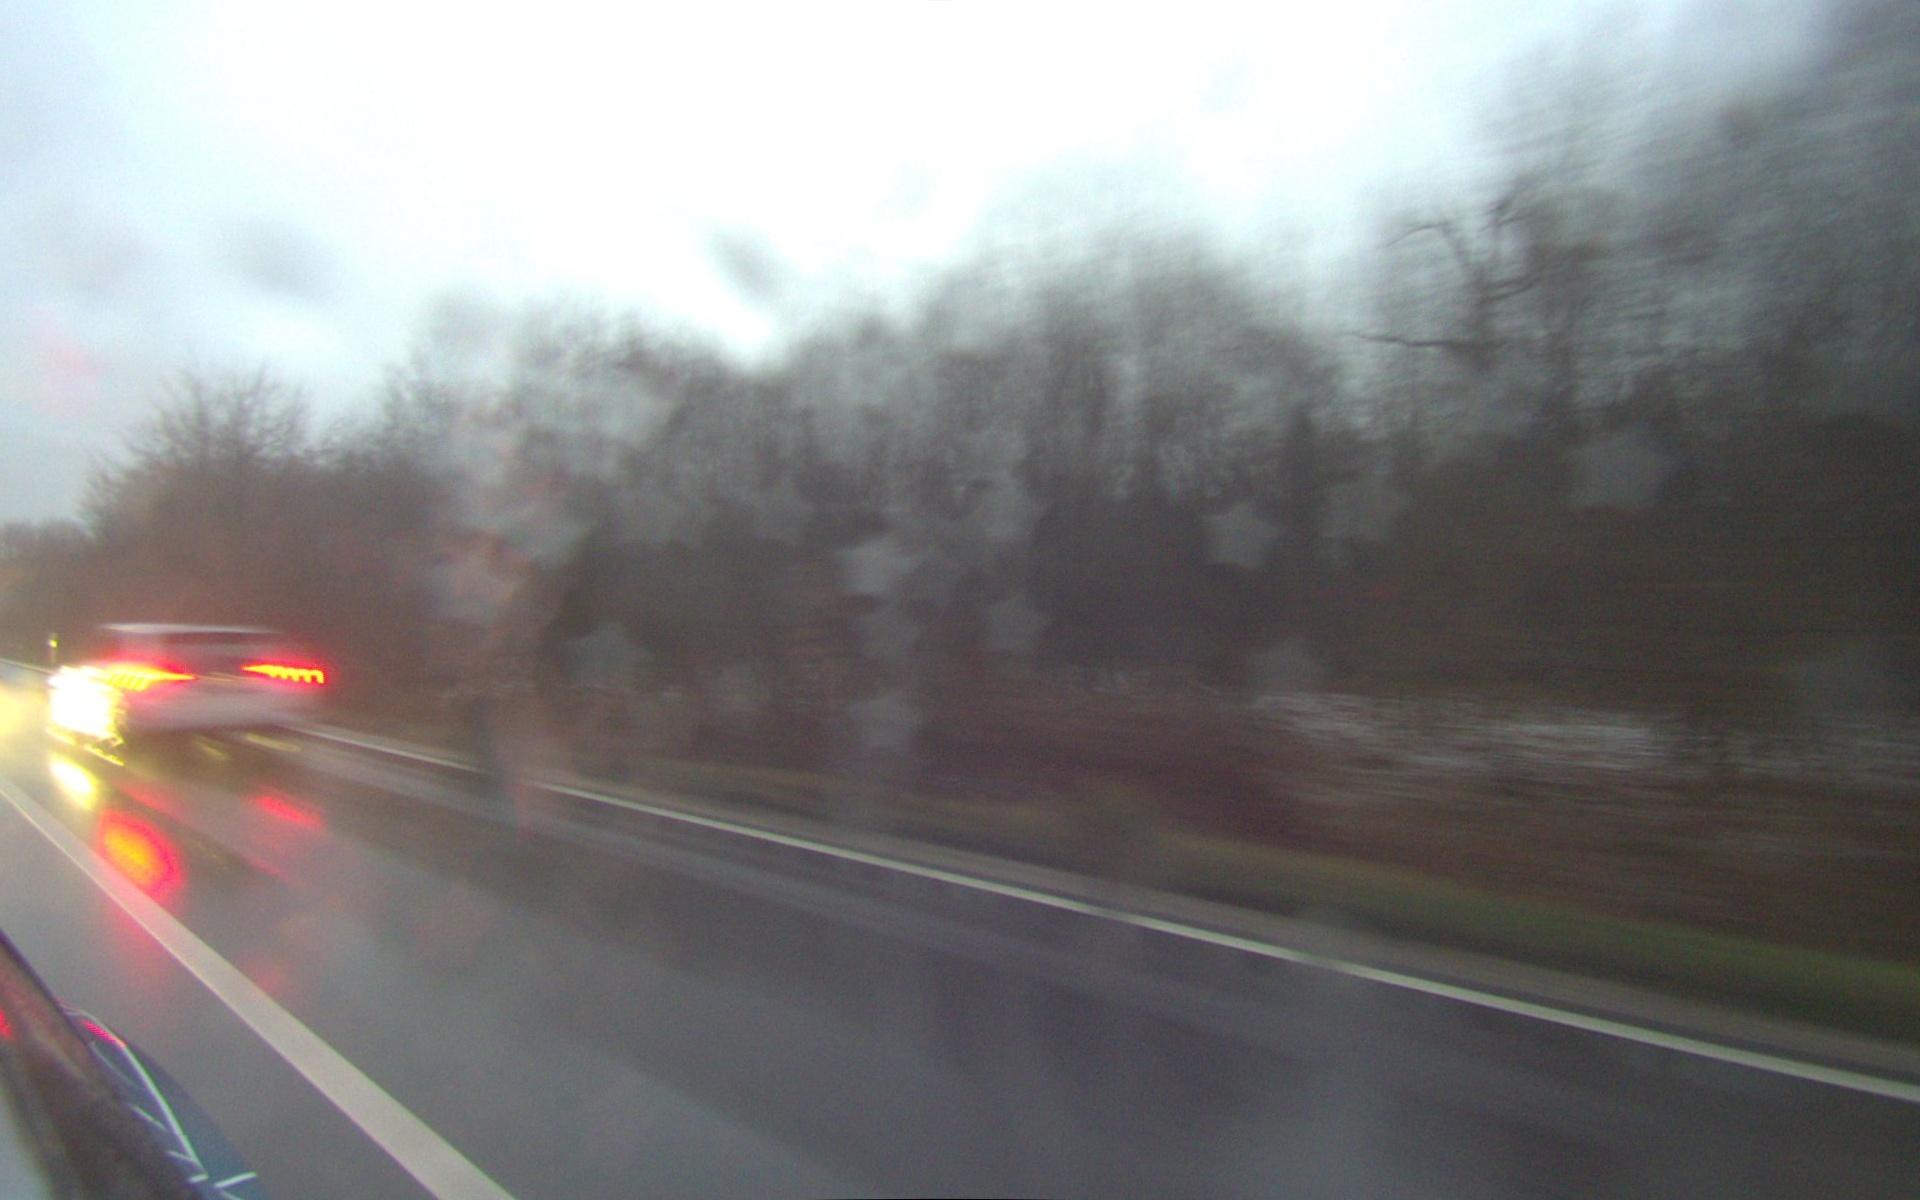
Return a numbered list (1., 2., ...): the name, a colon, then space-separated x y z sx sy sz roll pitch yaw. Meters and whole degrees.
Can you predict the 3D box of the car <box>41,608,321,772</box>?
1. car: -9.056 0.921 11.658 3.990 1.564 1.731 -2 -2 40
